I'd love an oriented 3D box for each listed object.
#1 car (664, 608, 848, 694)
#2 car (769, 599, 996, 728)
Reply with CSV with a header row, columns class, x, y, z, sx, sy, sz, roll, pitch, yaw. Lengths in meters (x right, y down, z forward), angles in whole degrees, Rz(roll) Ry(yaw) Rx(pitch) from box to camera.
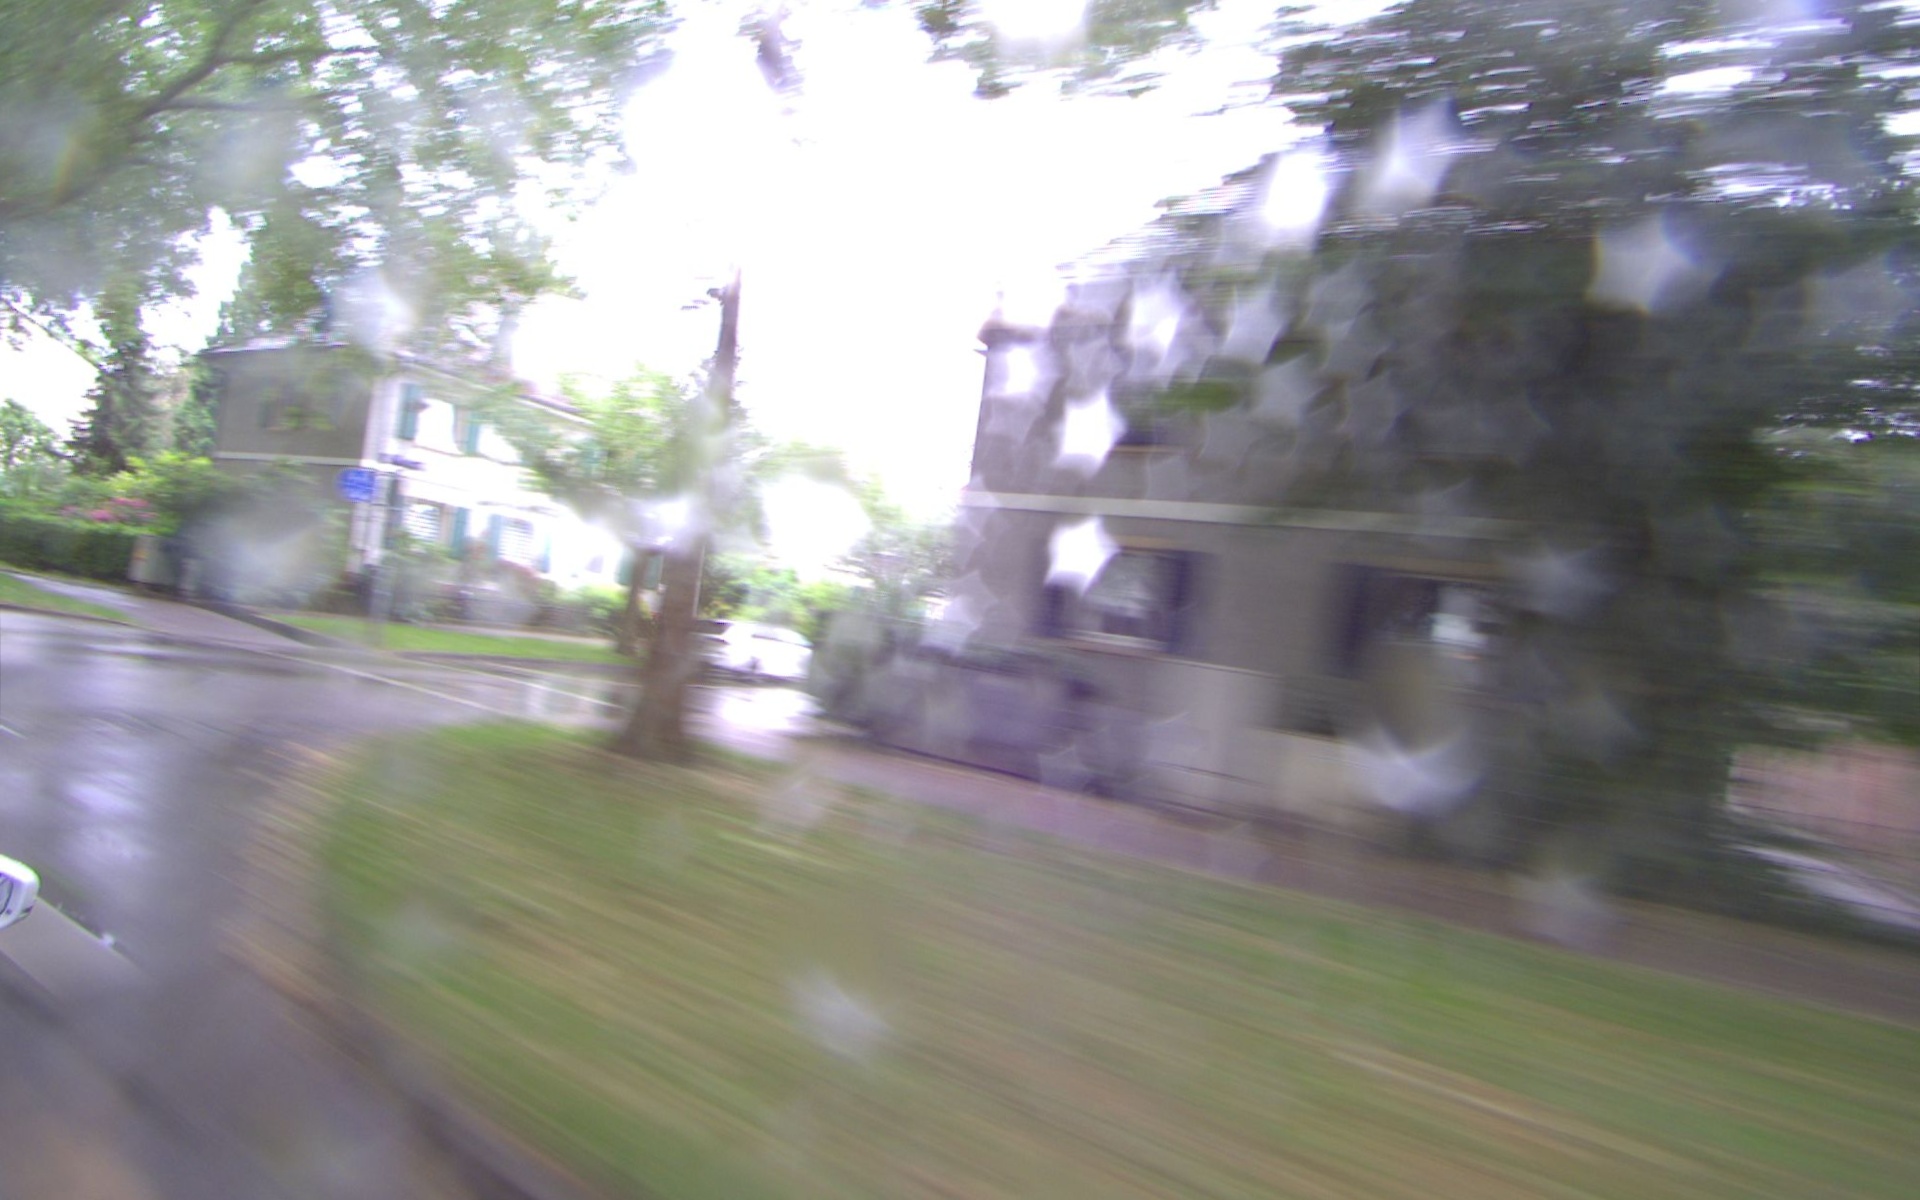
class,x,y,z,sx,sy,sz,roll,pitch,yaw
car,-5.035,1.345,25.445,1.954,1.536,4.418,7,-4,31
car,-1.422,1.376,20.480,2.137,1.991,4.611,7,-3,31
